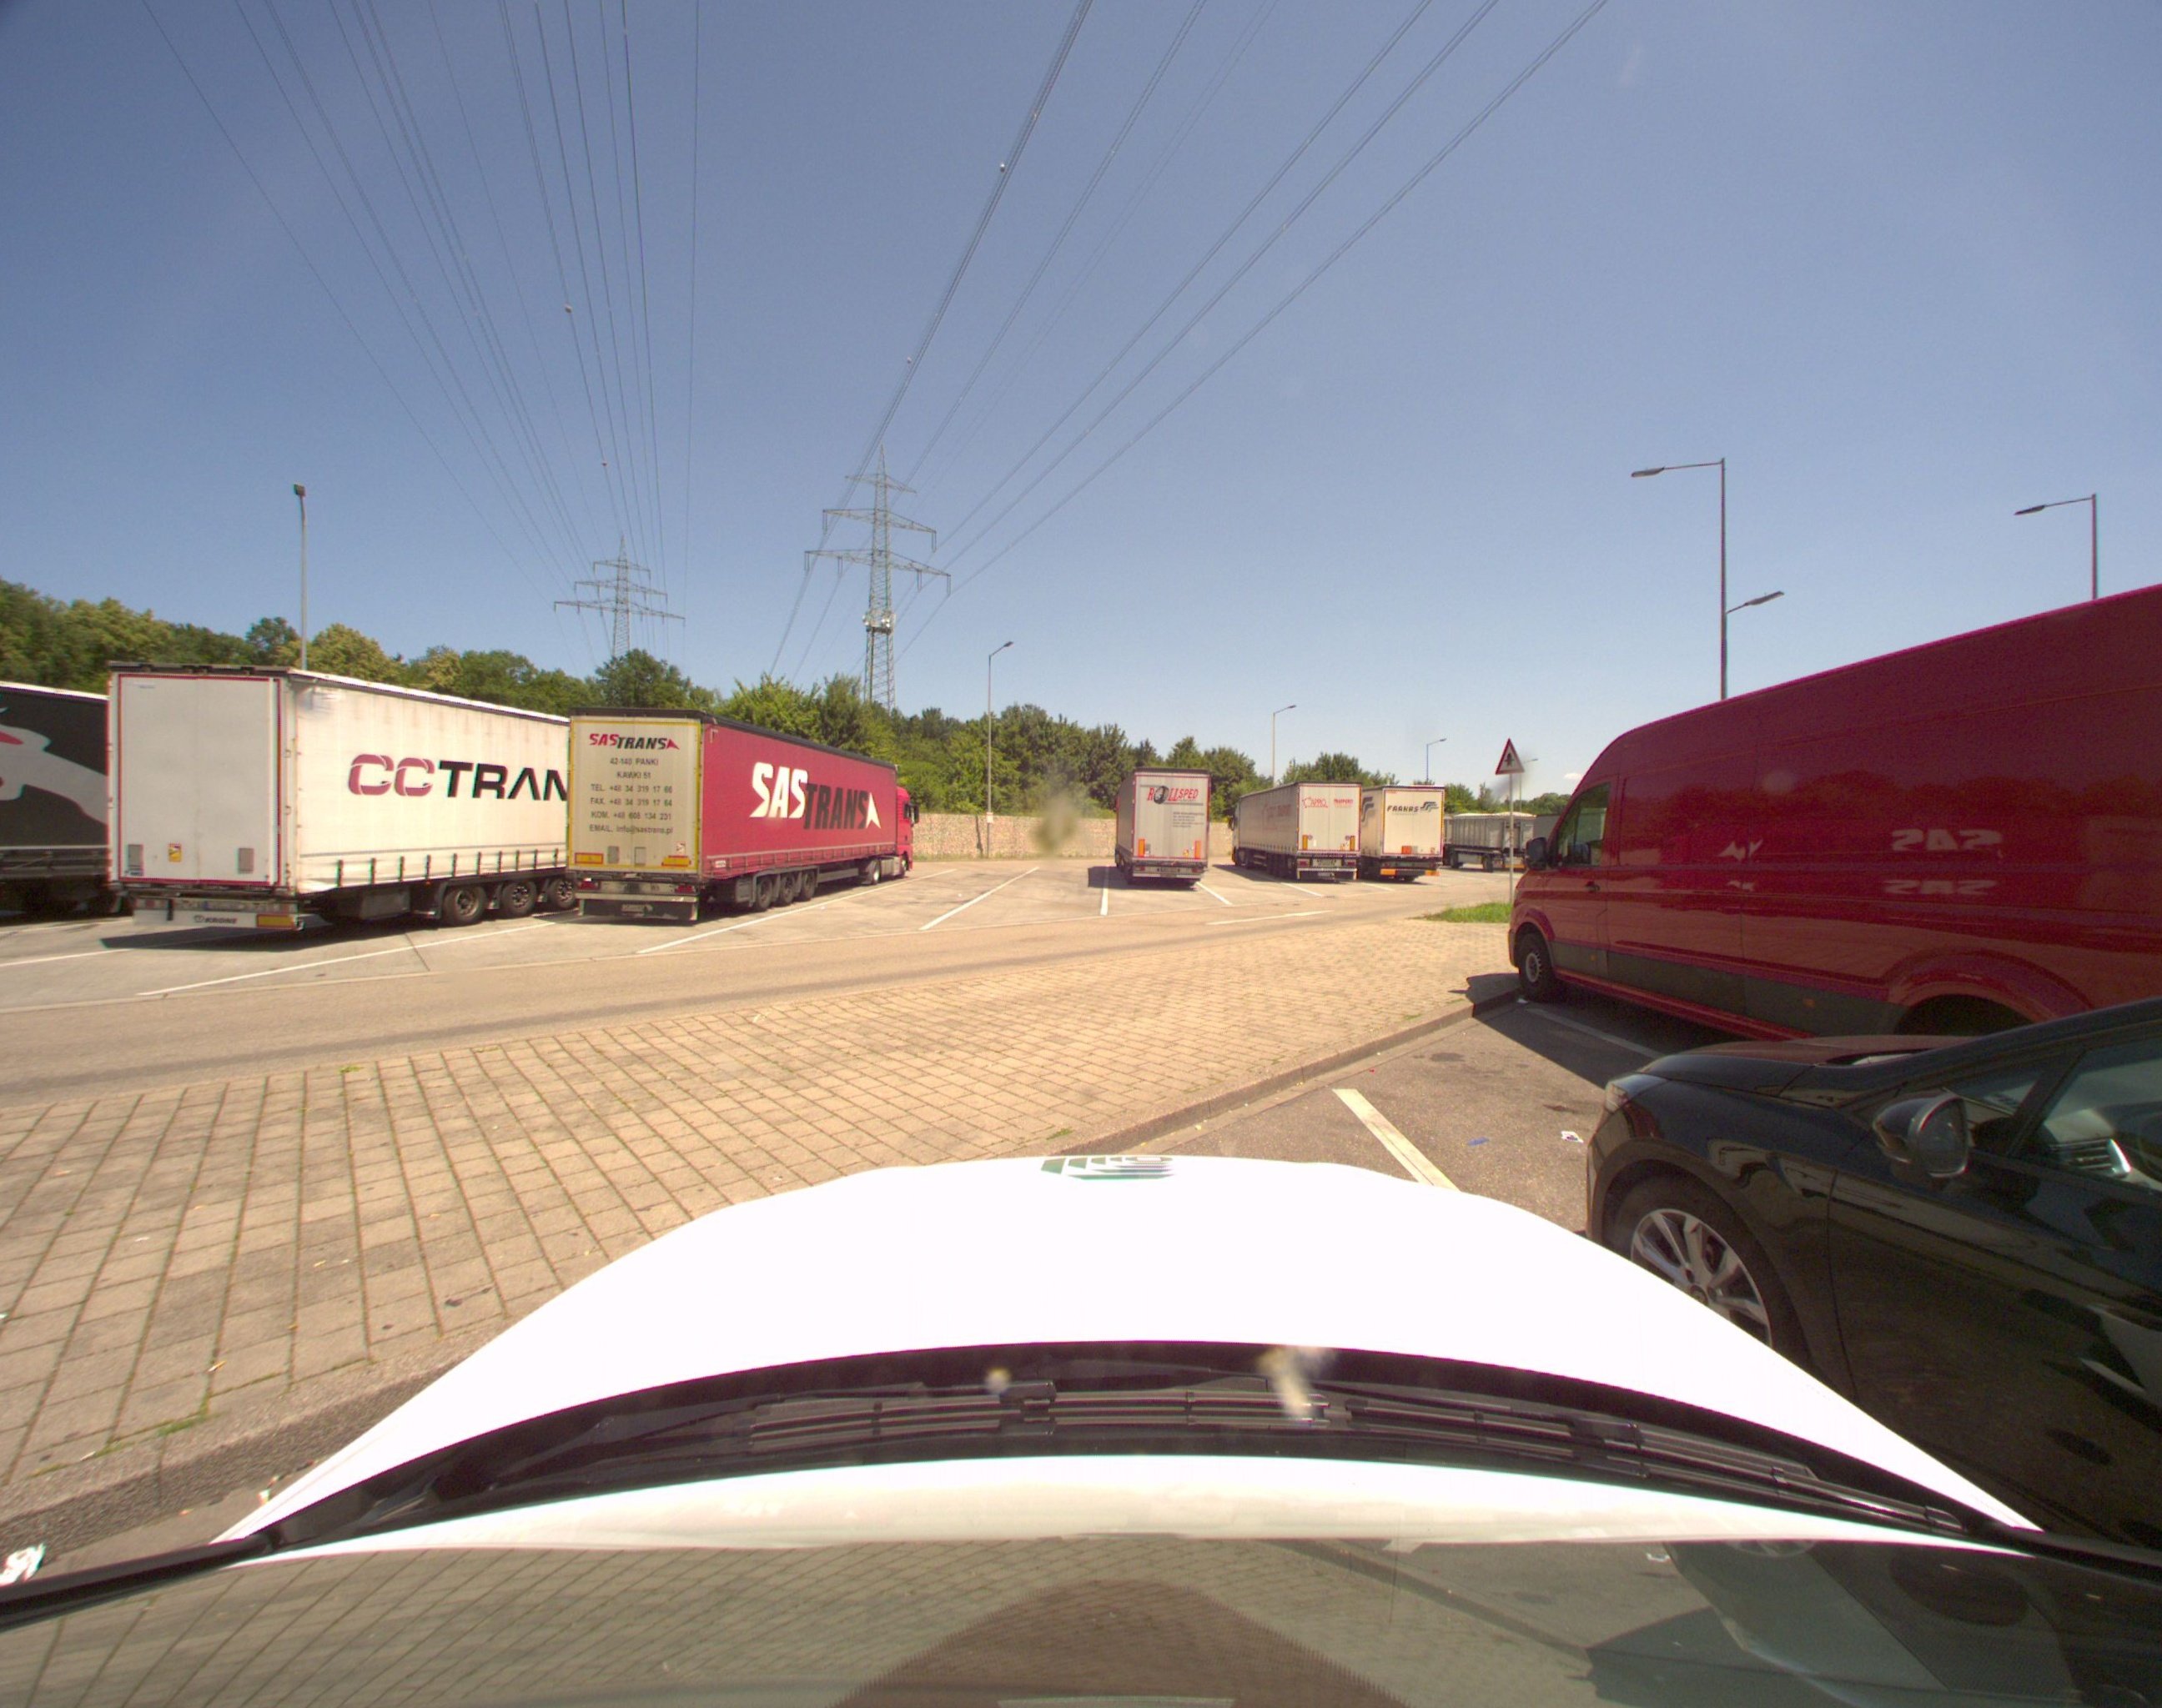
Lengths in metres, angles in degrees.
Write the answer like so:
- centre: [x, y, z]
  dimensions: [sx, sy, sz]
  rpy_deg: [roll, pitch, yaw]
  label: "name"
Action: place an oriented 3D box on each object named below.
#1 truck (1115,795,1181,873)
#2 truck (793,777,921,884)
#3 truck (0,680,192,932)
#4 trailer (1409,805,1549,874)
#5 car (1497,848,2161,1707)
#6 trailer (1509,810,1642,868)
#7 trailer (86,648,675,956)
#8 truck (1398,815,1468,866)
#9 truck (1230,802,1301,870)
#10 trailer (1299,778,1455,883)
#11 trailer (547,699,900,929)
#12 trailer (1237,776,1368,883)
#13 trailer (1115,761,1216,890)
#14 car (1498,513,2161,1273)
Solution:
- centre: [3.172, -0.984, 39.910]
  dimensions: [2.841, 3.483, 5.486]
  rpy_deg: [1, 1, 2]
  label: "truck"
- centre: [-7.797, -0.834, 29.095]
  dimensions: [2.841, 3.427, 5.486]
  rpy_deg: [1, 1, 2]
  label: "truck"
- centre: [-18.576, -0.805, 13.565]
  dimensions: [2.692, 4.016, 4.326]
  rpy_deg: [1, 2, 2]
  label: "truck"
- centre: [24.535, -0.991, 51.455]
  dimensions: [2.826, 3.717, 13.737]
  rpy_deg: [1, 2, 3]
  label: "trailer"
- centre: [2.522, 0.755, 1.181]
  dimensions: [1.733, 1.482, 3.813]
  rpy_deg: [-1, 1, -3]
  label: "car"
- centre: [38.377, -1.222, 64.139]
  dimensions: [2.826, 4.049, 13.737]
  rpy_deg: [1, 2, 3]
  label: "trailer"
- centre: [-12.201, -0.890, 16.330]
  dimensions: [2.718, 4.209, 10.175]
  rpy_deg: [1, 2, 2]
  label: "trailer"
- centre: [24.924, -0.998, 57.953]
  dimensions: [2.840, 3.364, 5.488]
  rpy_deg: [1, 1, 3]
  label: "truck"
- centre: [10.167, -1.022, 45.436]
  dimensions: [2.841, 3.483, 5.486]
  rpy_deg: [1, 1, 2]
  label: "truck"
- centre: [13.615, -1.114, 39.288]
  dimensions: [2.828, 4.132, 13.730]
  rpy_deg: [1, 2, 2]
  label: "trailer"
- centre: [-8.035, -0.953, 21.658]
  dimensions: [2.896, 4.131, 13.731]
  rpy_deg: [1, 2, 2]
  label: "trailer"
- centre: [9.958, -1.148, 38.625]
  dimensions: [2.828, 4.132, 13.730]
  rpy_deg: [1, 2, 2]
  label: "trailer"
- centre: [3.028, -1.098, 33.298]
  dimensions: [2.896, 4.132, 13.727]
  rpy_deg: [1, 2, 1]
  label: "trailer"
- centre: [5.165, 0.089, 5.491]
  dimensions: [2.055, 2.695, 6.405]
  rpy_deg: [-1, 1, 6]
  label: "car"
